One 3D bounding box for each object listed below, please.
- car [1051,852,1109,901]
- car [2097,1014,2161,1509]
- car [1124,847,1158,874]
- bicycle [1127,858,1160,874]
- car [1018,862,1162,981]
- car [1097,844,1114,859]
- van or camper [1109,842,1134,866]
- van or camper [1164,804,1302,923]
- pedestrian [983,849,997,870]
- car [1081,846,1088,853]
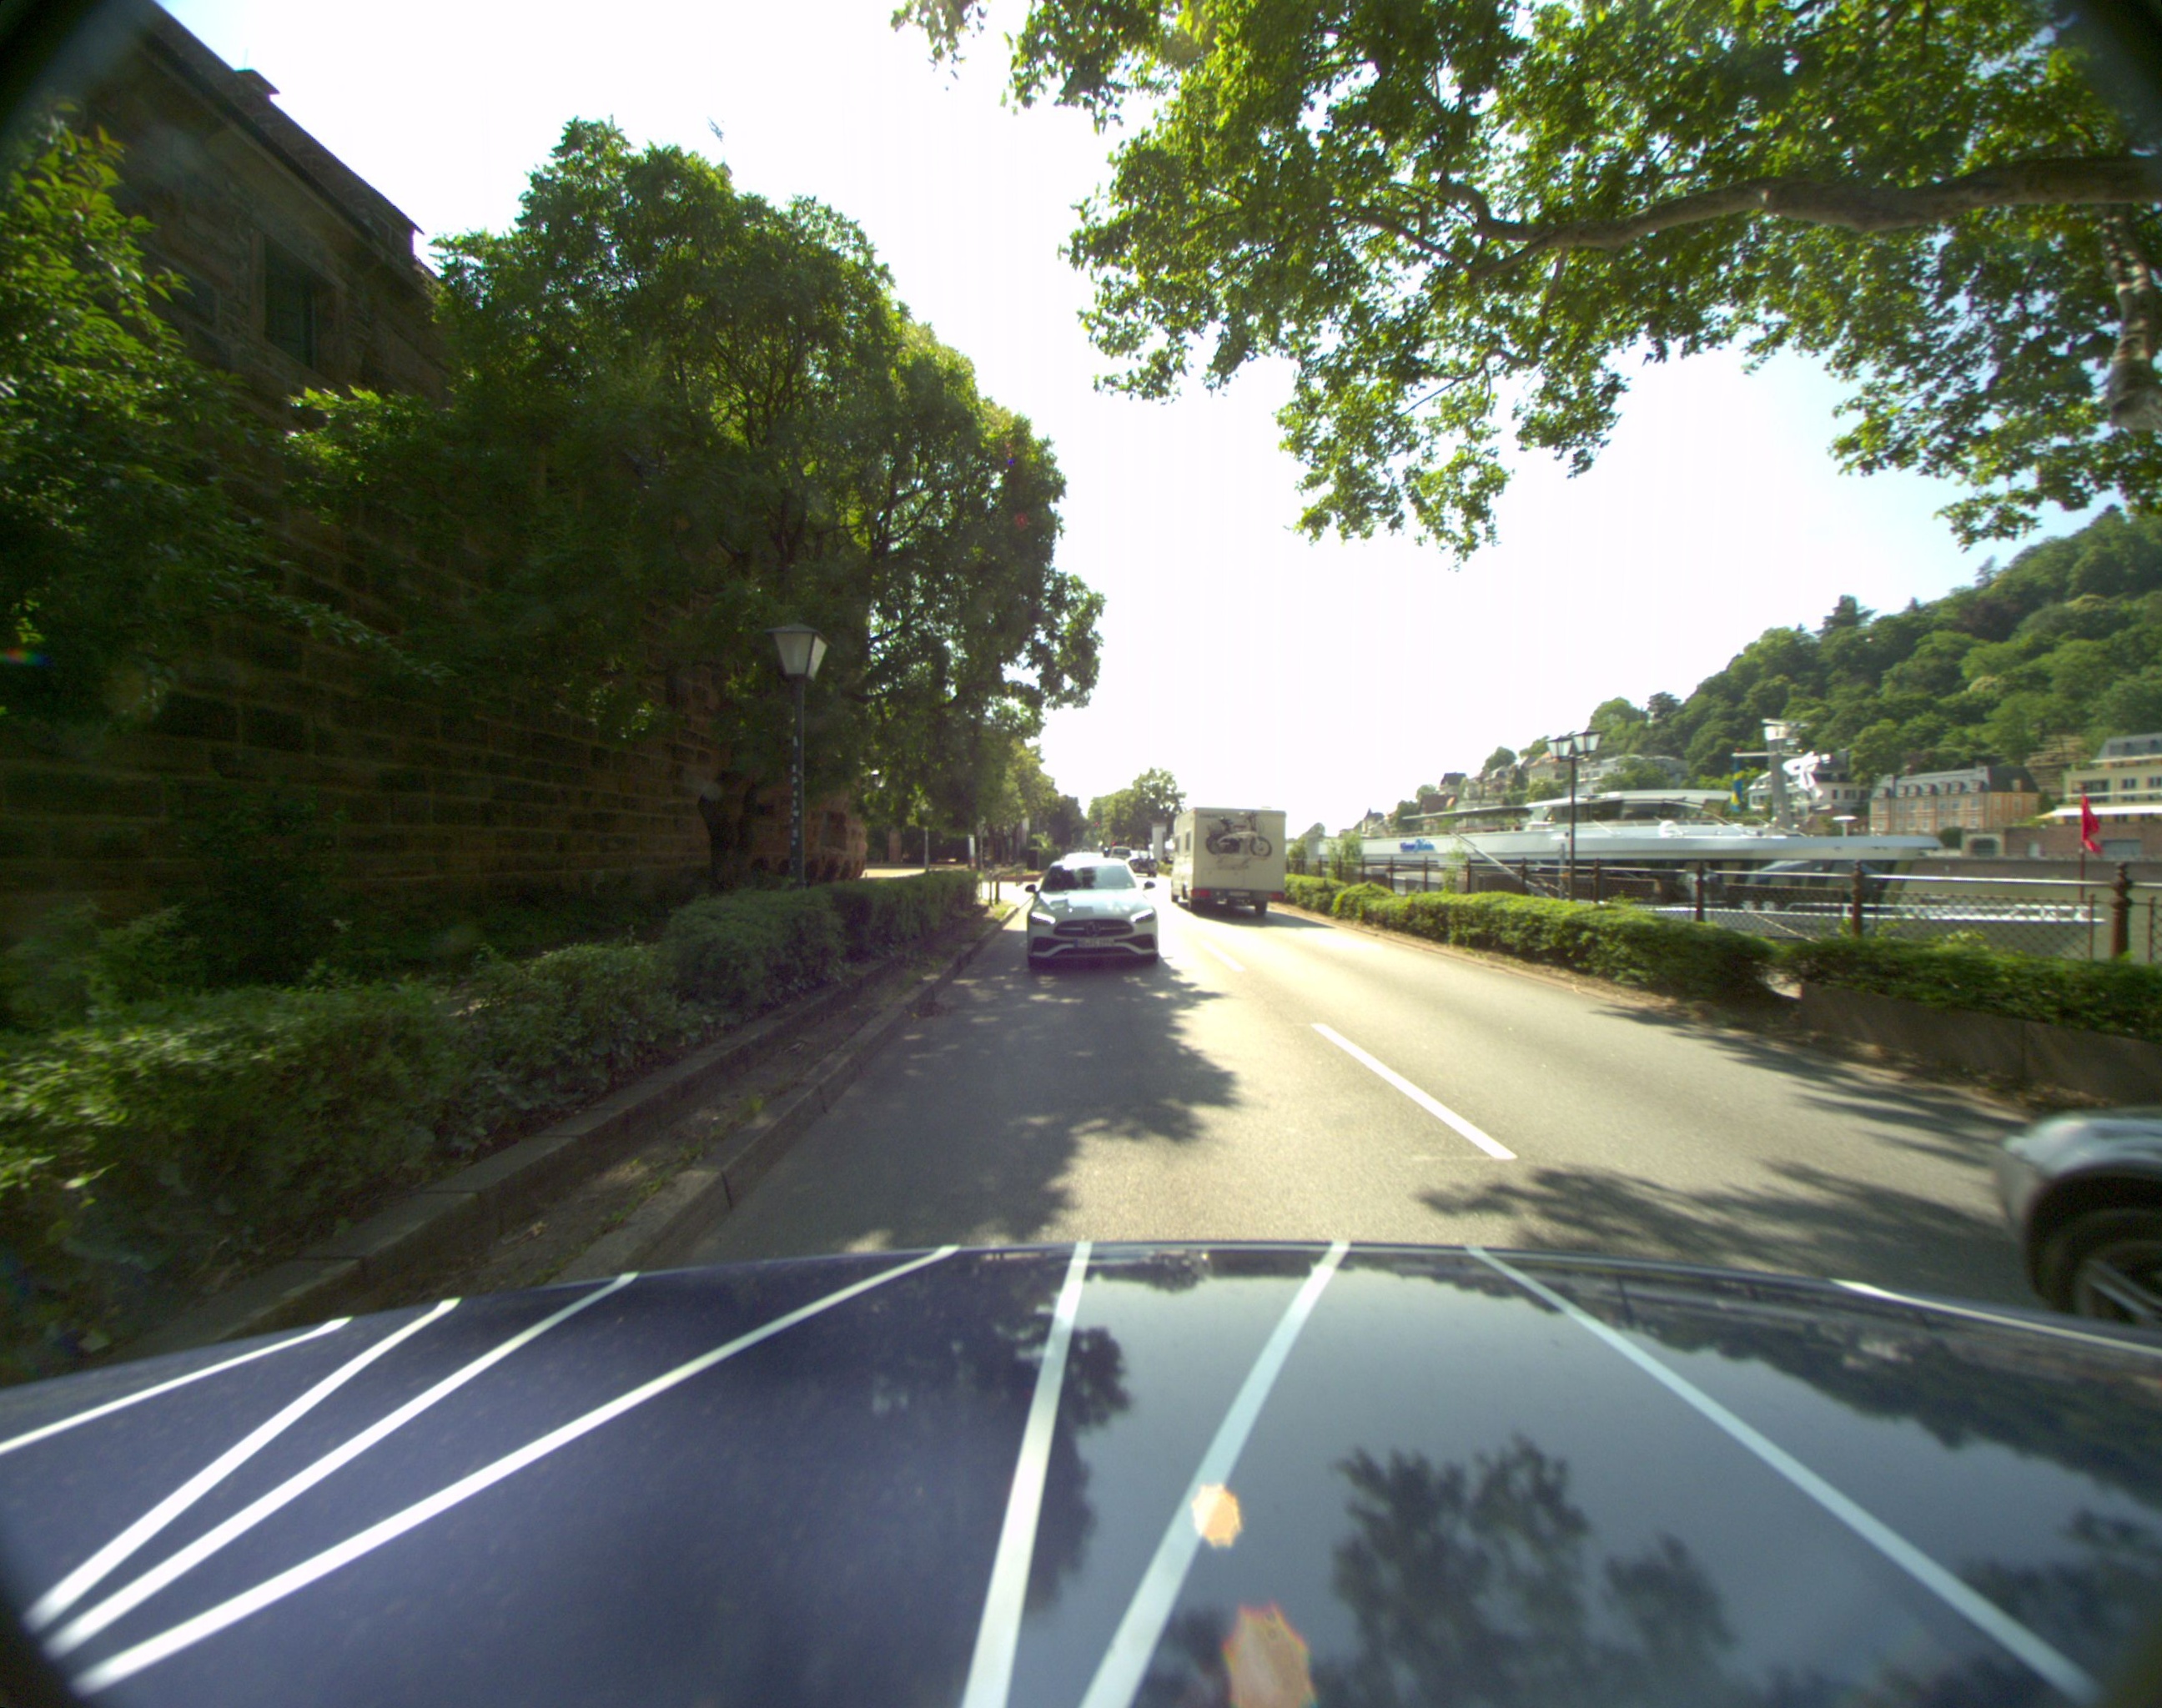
[{"bbox_3d":[-0.019,0.721,26.513,1.854,1.543,3.848,1,1,0],"label":"car"},{"bbox_3d":[3.570,1.063,0.260,1.702,1.204,3.485,2,1,-1],"label":"car"},{"bbox_3d":[3.748,0.373,48.233,1.826,1.603,3.959,1,1,0],"label":"car"},{"bbox_3d":[3.745,0.720,45.737,1.873,0.921,0.955,1,1,0],"label":"bicycle"},{"bbox_3d":[0.110,0.891,11.988,1.829,1.418,4.358,-1,0,0],"label":"car"},{"bbox_3d":[2.748,-0.262,86.385,1.826,1.605,3.959,2,1,0],"label":"car"},{"bbox_3d":[3.454,-0.011,65.643,1.923,1.976,4.000,1,1,1],"label":"van or camper"},{"bbox_3d":[3.788,0.173,20.375,2.328,2.647,6.263,2,1,-1],"label":"van or camper"},{"bbox_3d":[-5.396,0.318,45.010,0.632,1.186,0.747,-2,1,2],"label":"pedestrian"},{"bbox_3d":[1.098,-1.435,224.648,1.923,1.975,4.000,1,1,1],"label":"car"}]
